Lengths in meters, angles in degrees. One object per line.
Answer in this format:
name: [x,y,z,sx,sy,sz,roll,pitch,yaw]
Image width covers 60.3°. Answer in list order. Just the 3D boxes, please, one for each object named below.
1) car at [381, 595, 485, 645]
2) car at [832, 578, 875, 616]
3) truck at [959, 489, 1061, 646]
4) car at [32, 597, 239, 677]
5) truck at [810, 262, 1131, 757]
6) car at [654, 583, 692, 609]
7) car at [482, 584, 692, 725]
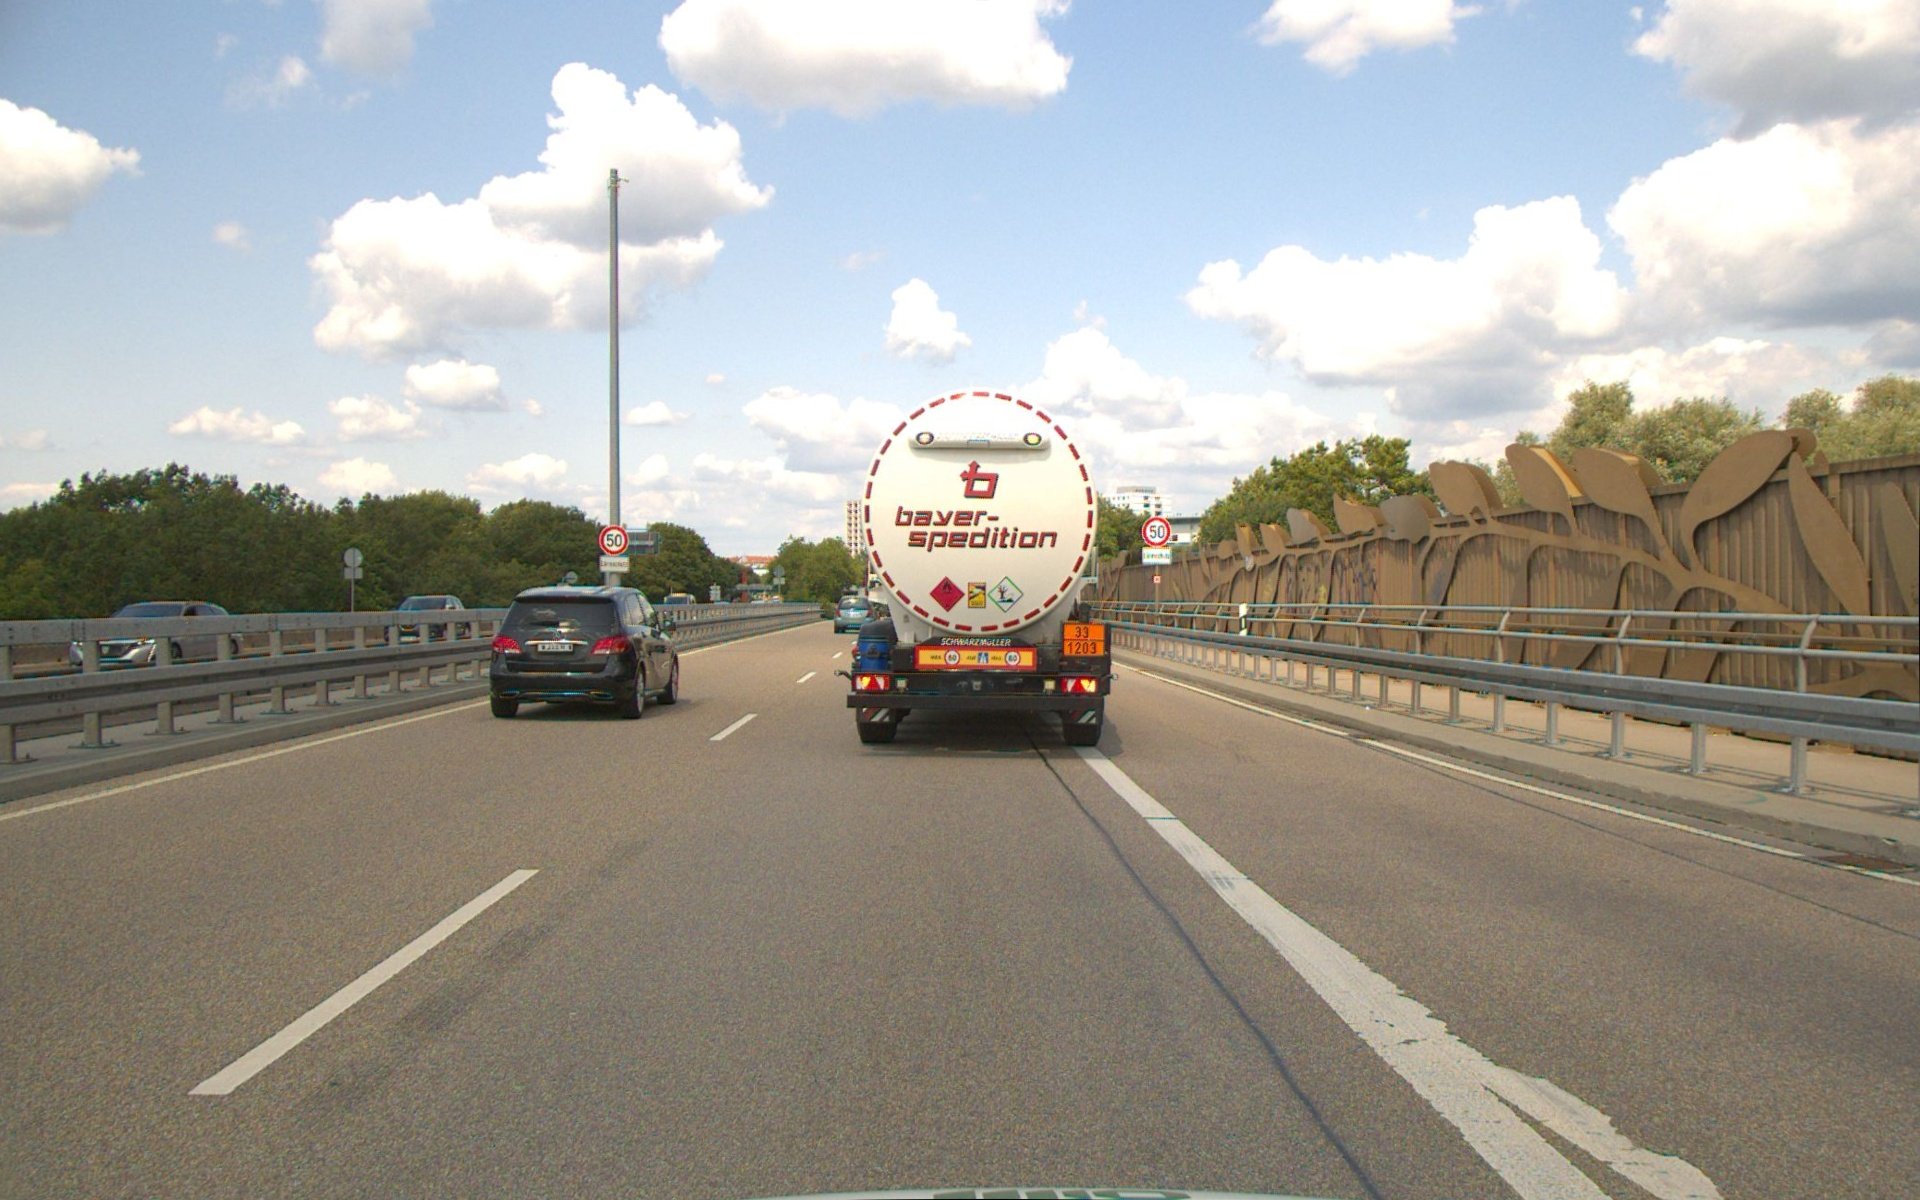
car: [-16.561,0.593,52.187,1.873,1.489,4.518,0,0,-1]
car: [-4.540,-0.138,70.684,1.712,1.558,3.999,0,1,-2]
truck: [1.559,-1.050,55.913,2.837,4.892,8.026,1,0,-2]
car: [-15.937,0.664,32.248,1.740,1.445,4.621,0,0,0]
truck: [0.099,-0.852,19.073,2.836,4.445,8.029,1,0,0]
car: [-19.169,-0.274,110.695,1.954,1.668,3.998,1,0,-3]
car: [-4.557,0.592,20.850,1.677,1.554,4.591,1,0,-1]
